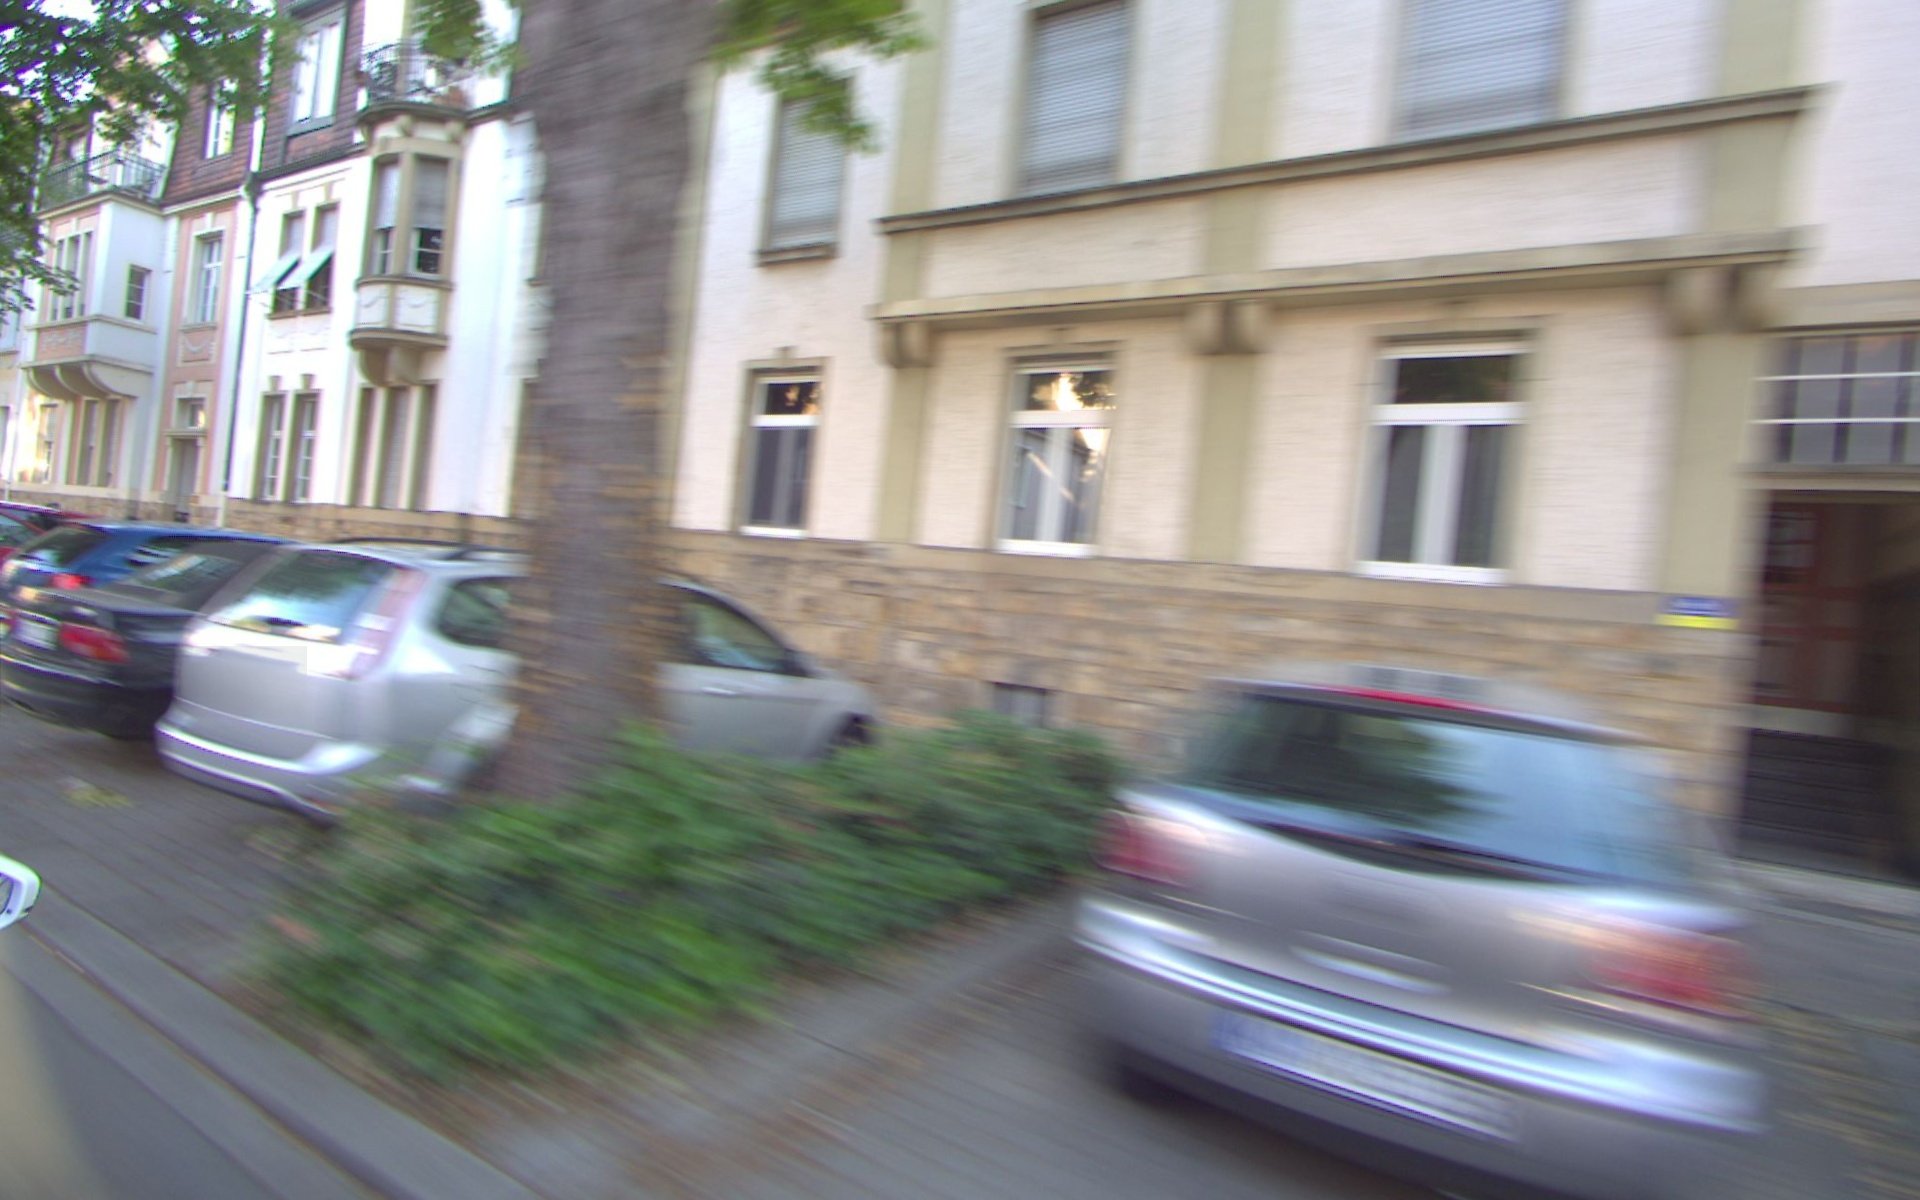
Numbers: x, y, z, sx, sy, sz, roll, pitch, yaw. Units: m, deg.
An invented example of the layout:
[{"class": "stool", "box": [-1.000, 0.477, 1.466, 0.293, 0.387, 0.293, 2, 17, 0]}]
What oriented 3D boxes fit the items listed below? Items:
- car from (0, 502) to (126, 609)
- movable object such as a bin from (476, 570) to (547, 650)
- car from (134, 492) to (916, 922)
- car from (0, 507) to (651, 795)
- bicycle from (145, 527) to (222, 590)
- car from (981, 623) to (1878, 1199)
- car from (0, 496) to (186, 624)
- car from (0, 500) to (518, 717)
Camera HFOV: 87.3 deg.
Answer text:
[{"class": "car", "box": [-14.635, -0.769, 13.911, 1.847, 1.437, 4.411, 6, 1, 34]}, {"class": "movable object such as a bin", "box": [-6.389, 0.138, 14.345, 0.532, 1.064, 0.700, 7, 3, 31]}, {"class": "car", "box": [-2.080, 0.524, 6.137, 1.682, 1.595, 4.157, 6, -1, 27]}, {"class": "car", "box": [-4.407, 0.362, 7.323, 1.787, 1.455, 3.799, 6, -1, 31]}, {"class": "bicycle", "box": [-15.452, -0.830, 20.009, 2.011, 1.070, 0.474, 6, 2, 31]}, {"class": "car", "box": [1.749, 0.966, 3.987, 1.718, 1.456, 3.800, 6, 0, 27]}, {"class": "car", "box": [-12.511, -0.593, 12.495, 1.822, 1.494, 4.189, 6, 1, 34]}, {"class": "car", "box": [-6.206, 0.159, 9.000, 1.536, 1.501, 3.797, 6, -1, 34]}]
